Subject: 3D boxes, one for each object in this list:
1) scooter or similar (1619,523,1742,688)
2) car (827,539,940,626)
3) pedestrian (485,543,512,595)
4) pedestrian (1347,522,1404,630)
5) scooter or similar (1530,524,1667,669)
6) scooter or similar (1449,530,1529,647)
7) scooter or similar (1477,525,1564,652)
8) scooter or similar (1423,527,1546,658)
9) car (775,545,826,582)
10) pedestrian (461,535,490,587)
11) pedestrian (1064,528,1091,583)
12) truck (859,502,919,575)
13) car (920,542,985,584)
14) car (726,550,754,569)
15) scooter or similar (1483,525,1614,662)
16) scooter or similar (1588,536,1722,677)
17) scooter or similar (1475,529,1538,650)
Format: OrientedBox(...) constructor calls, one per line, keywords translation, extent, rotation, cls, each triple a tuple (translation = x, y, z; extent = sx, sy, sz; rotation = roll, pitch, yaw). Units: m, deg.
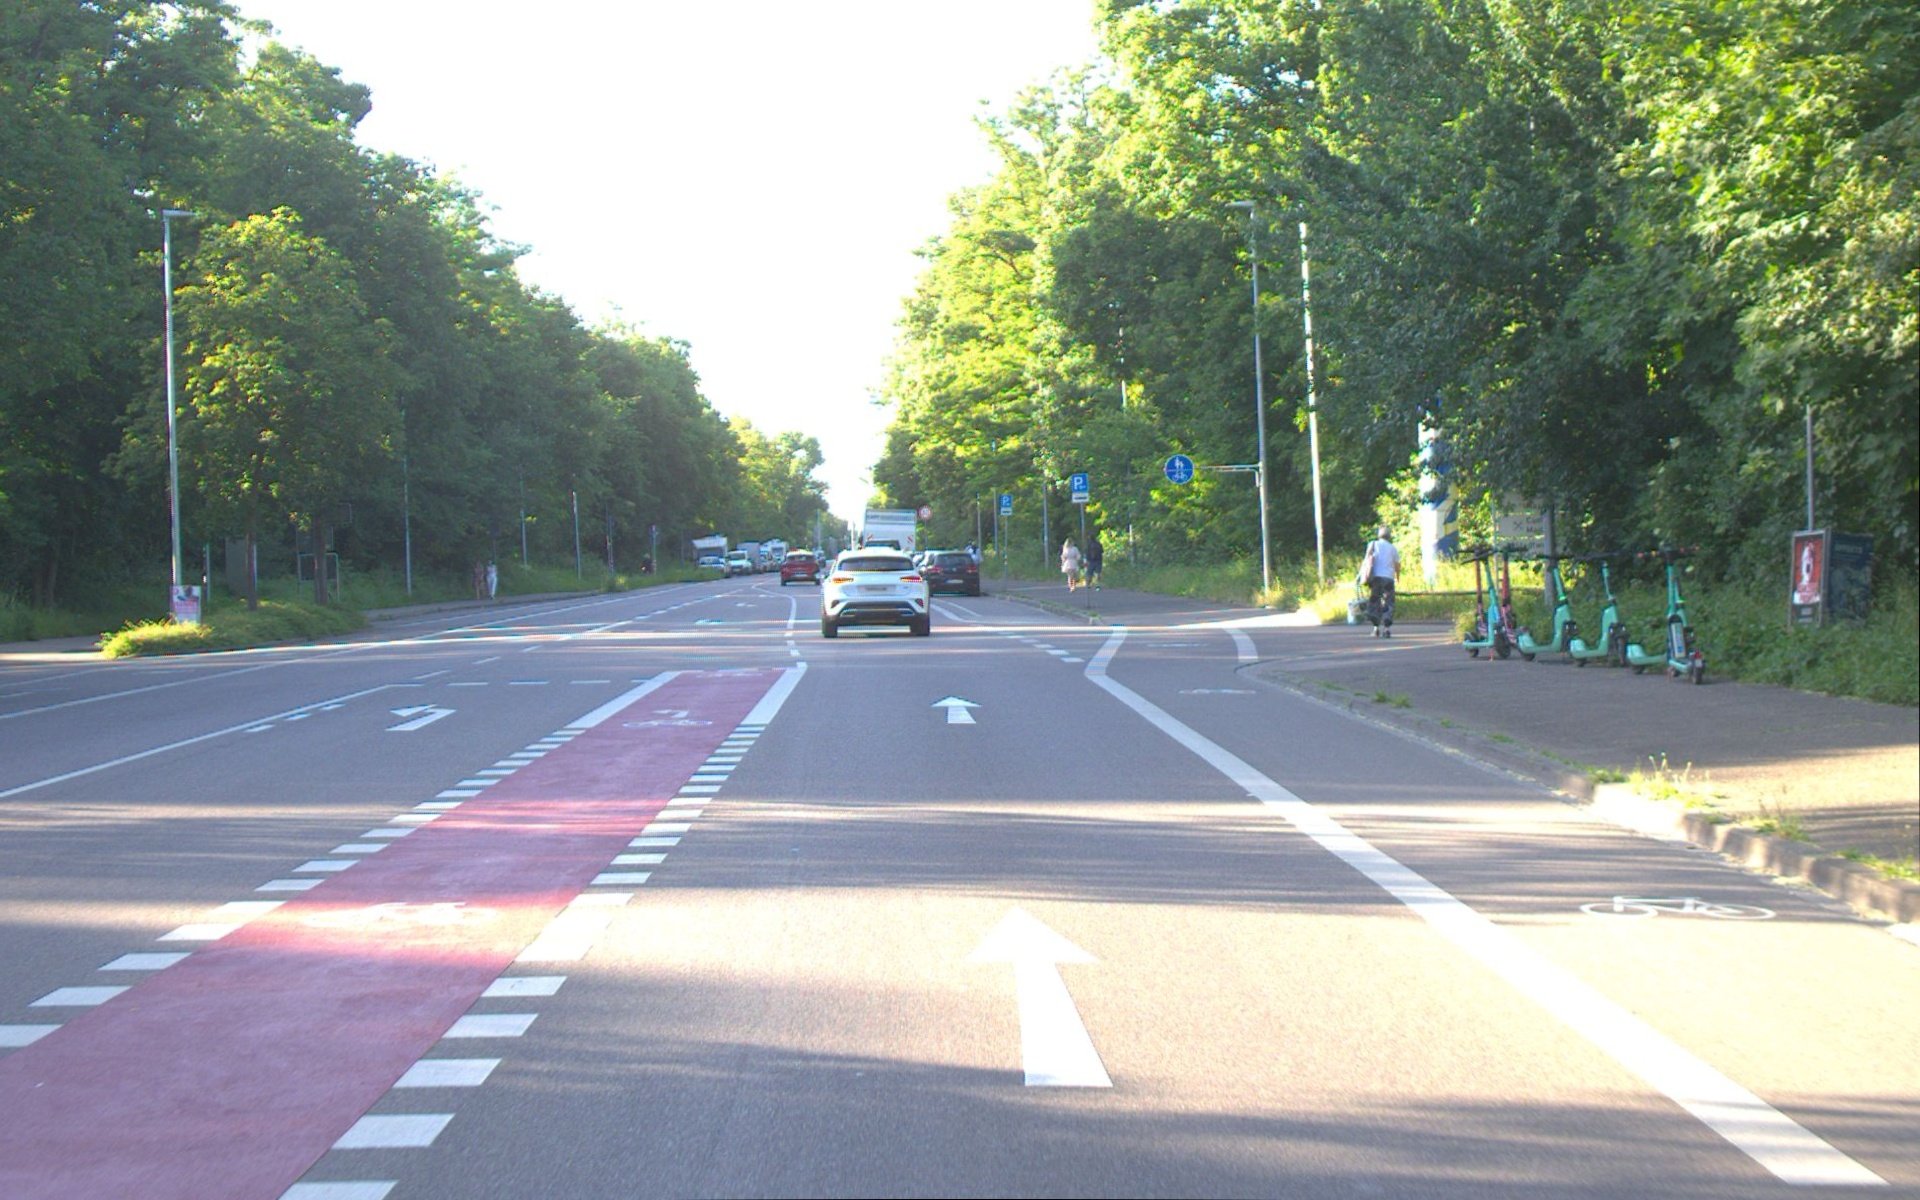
OrientedBox(translation=(6.456, 0.032, 30.884), extent=(0.682, 1.418, 1.682), rotation=(-2, 1, -1), cls="scooter or similar")
OrientedBox(translation=(-1.360, -0.327, 59.727), extent=(1.761, 1.454, 3.818), rotation=(0, 1, -4), cls="car")
OrientedBox(translation=(-18.125, -1.226, 135.069), extent=(0.831, 2.007, 1.269), rotation=(-2, 1, 1), cls="pedestrian")
OrientedBox(translation=(6.155, -0.363, 50.904), extent=(0.755, 1.558, 0.802), rotation=(-2, 1, 4), cls="pedestrian")
OrientedBox(translation=(6.458, -0.045, 34.835), extent=(0.682, 1.418, 1.682), rotation=(-2, 1, -14), cls="scooter or similar")
OrientedBox(translation=(6.600, -0.158, 42.951), extent=(0.682, 1.418, 1.682), rotation=(-2, 1, -1), cls="scooter or similar")
OrientedBox(translation=(6.497, -0.143, 39.898), extent=(0.682, 1.418, 1.682), rotation=(-2, 1, -1), cls="scooter or similar")
OrientedBox(translation=(5.873, -0.094, 38.583), extent=(0.682, 1.418, 1.682), rotation=(-2, 1, -16), cls="scooter or similar")
OrientedBox(translation=(-6.953, -1.603, 150.137), extent=(1.993, 1.514, 4.000), rotation=(-2, 1, 0), cls="car")
OrientedBox(translation=(-19.028, -1.542, 135.057), extent=(0.863, 2.007, 1.269), rotation=(-2, 1, 1), cls="pedestrian")
OrientedBox(translation=(3.580, -1.359, 104.886), extent=(0.698, 1.647, 0.876), rotation=(-2, 1, -1), cls="pedestrian")
OrientedBox(translation=(-3.599, -3.076, 172.685), extent=(2.799, 3.558, 8.036), rotation=(0, 1, -2), cls="truck")
OrientedBox(translation=(-0.270, -1.232, 113.267), extent=(1.993, 1.322, 4.000), rotation=(-2, 1, -1), cls="car")
OrientedBox(translation=(-16.565, -3.068, 259.284), extent=(1.993, 1.322, 4.001), rotation=(-2, 1, -3), cls="car")
OrientedBox(translation=(6.306, -0.077, 36.906), extent=(0.682, 1.418, 1.682), rotation=(-2, 1, -16), cls="scooter or similar")
OrientedBox(translation=(6.604, 0.054, 32.740), extent=(0.465, 1.302, 1.481), rotation=(-2, 1, -23), cls="scooter or similar")
OrientedBox(translation=(6.578, -0.136, 41.412), extent=(0.682, 1.418, 1.245), rotation=(-2, 1, 8), cls="scooter or similar")
